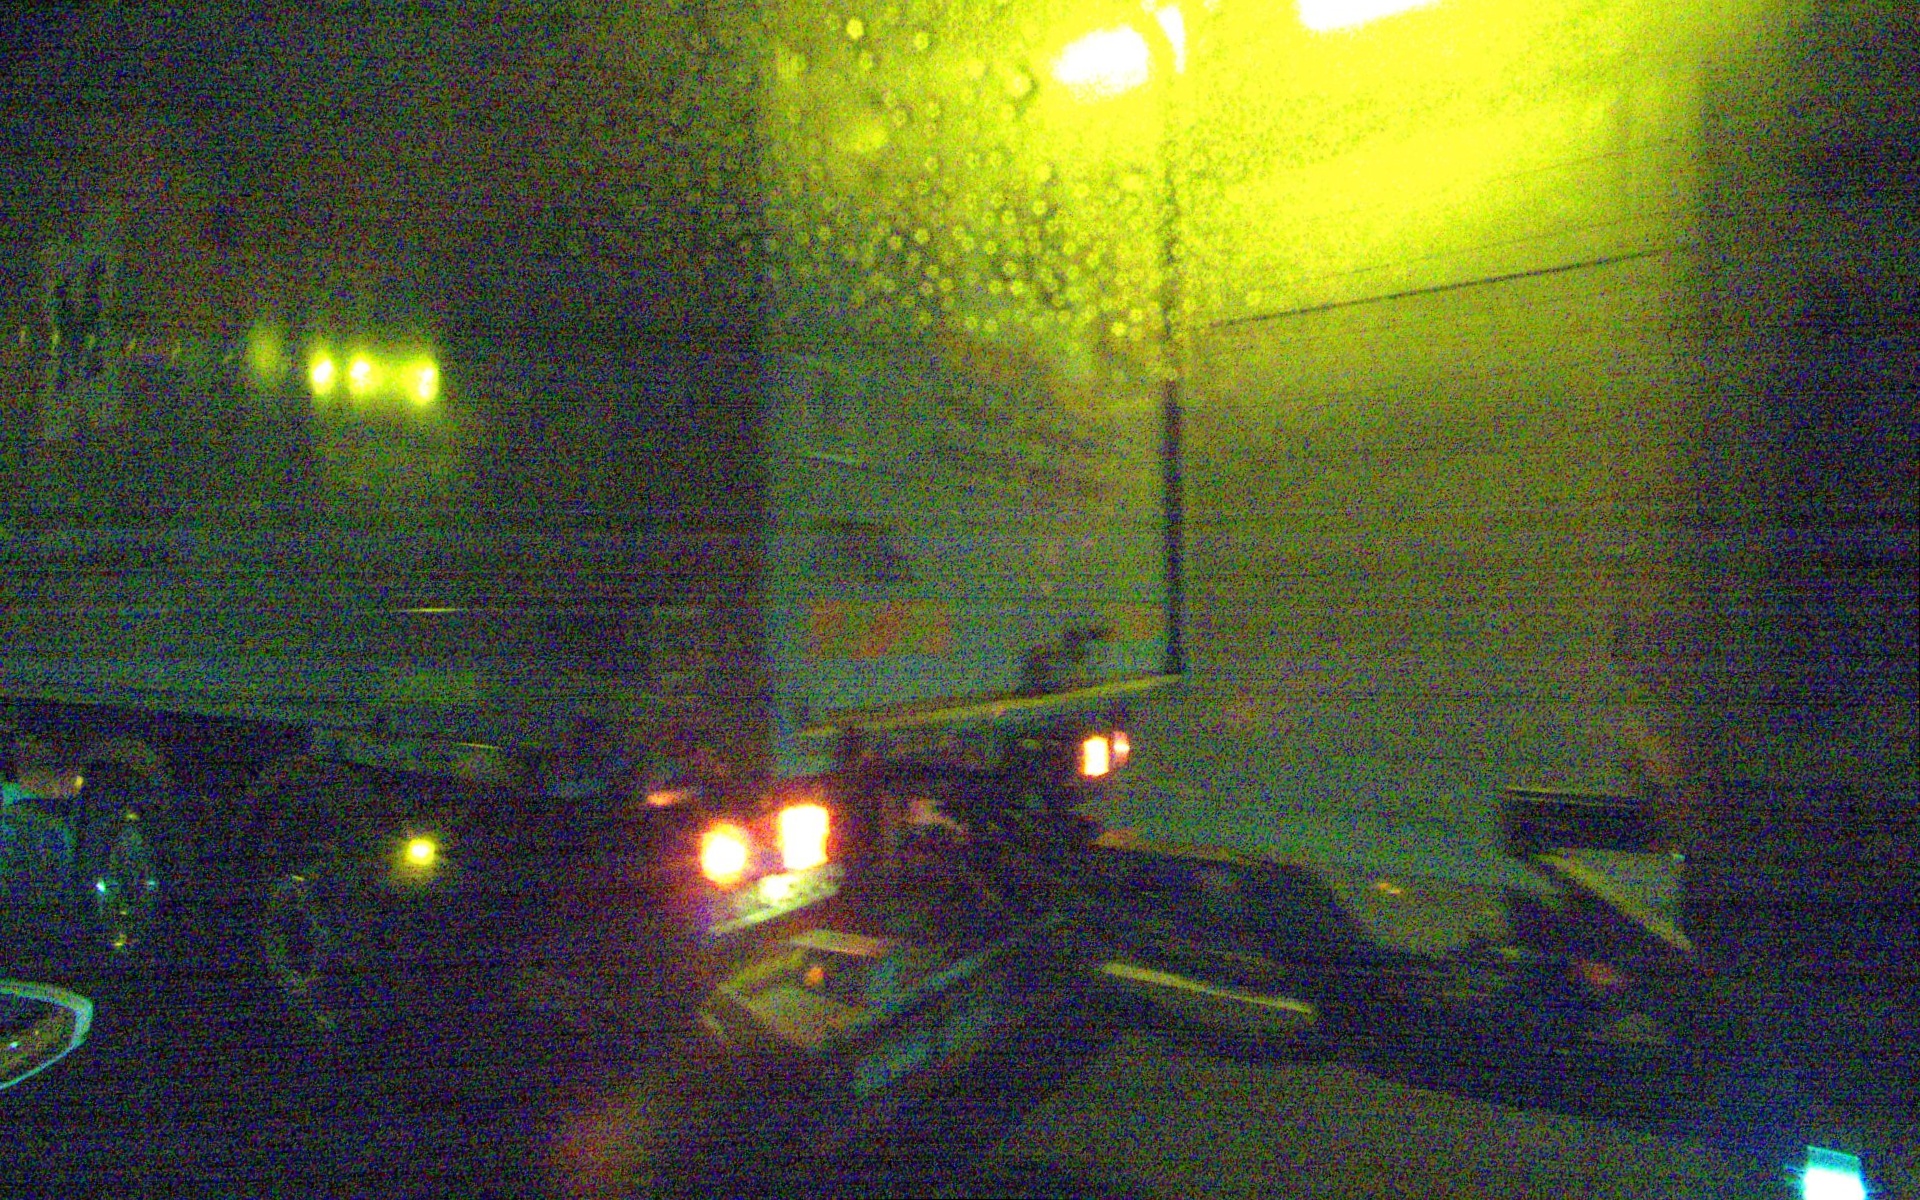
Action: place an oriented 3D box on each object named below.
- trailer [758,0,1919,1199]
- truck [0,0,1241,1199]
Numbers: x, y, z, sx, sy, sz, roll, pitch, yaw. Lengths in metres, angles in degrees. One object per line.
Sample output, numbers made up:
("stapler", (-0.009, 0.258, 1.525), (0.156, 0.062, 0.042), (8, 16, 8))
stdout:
("trailer", (4.111, -0.609, 0.568), (8.821, 3.909, 2.869), (-1, 0, 33))
("truck", (-3.704, -0.447, 5.616), (9.767, 3.965, 2.883), (-1, 0, 32))
